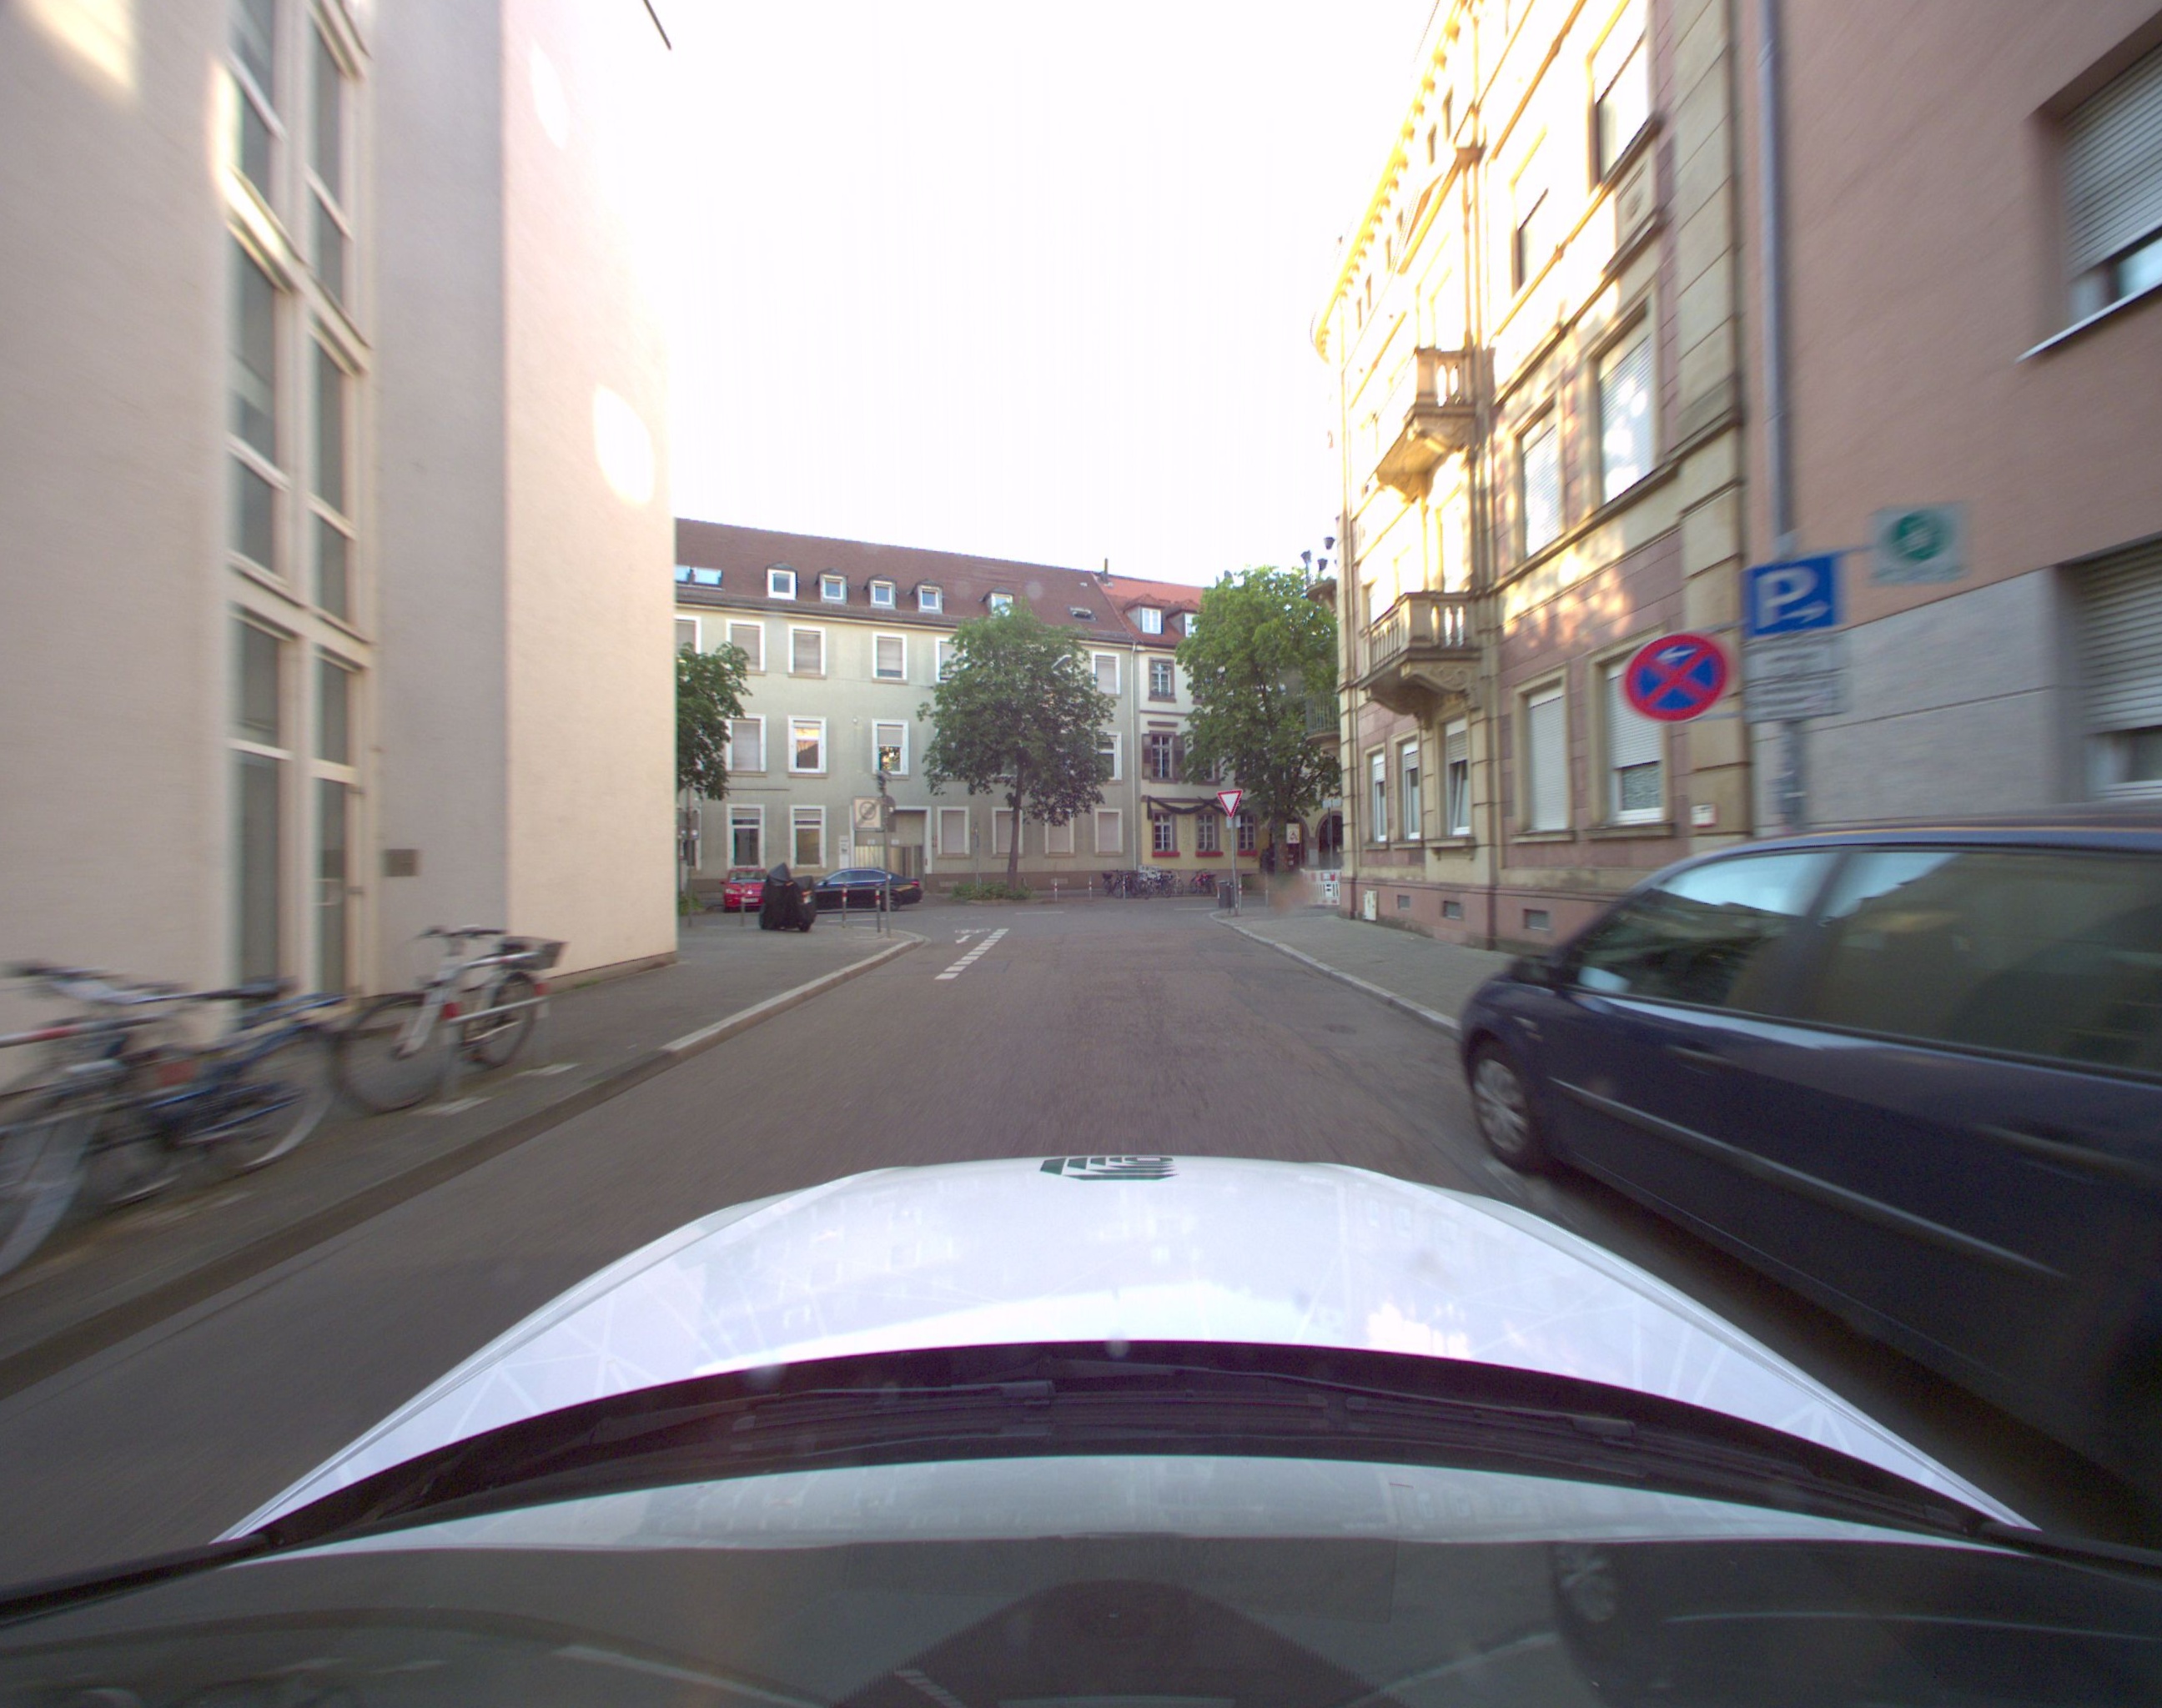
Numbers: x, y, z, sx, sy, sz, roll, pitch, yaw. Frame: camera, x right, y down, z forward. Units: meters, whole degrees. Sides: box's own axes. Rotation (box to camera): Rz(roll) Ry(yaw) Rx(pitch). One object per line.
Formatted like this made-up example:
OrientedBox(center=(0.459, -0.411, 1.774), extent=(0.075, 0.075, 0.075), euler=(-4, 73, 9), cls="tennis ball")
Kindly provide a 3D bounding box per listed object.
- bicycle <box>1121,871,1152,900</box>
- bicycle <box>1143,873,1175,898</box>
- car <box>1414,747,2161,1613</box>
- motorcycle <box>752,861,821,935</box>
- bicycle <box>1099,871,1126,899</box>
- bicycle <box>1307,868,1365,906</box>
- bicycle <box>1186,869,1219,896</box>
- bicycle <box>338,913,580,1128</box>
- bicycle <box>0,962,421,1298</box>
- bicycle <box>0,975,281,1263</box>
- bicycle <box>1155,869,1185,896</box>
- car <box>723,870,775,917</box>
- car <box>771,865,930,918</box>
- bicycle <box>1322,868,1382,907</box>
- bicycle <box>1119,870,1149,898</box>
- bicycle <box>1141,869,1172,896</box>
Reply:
OrientedBox(center=(2.286, 1.276, 33.694), extent=(0.446, 1.145, 2.028), euler=(-1, -1, -20), cls="bicycle")
OrientedBox(center=(3.285, 1.313, 34.464), extent=(0.422, 1.004, 2.027), euler=(-1, -1, -22), cls="bicycle")
OrientedBox(center=(2.831, 0.611, 2.711), extent=(1.685, 1.625, 4.051), euler=(-1, -1, -2), cls="car")
OrientedBox(center=(-6.639, 0.972, 18.287), extent=(0.673, 1.555, 2.136), euler=(-1, -1, -42), cls="motorcycle")
OrientedBox(center=(1.337, 1.292, 34.858), extent=(0.446, 1.145, 2.030), euler=(-1, -1, -18), cls="bicycle")
OrientedBox(center=(8.008, 1.032, 25.520), extent=(1.871, 1.089, 0.362), euler=(-2, -2, -22), cls="bicycle")
OrientedBox(center=(5.278, 1.245, 35.583), extent=(0.422, 1.145, 2.027), euler=(-1, -1, -22), cls="bicycle")
OrientedBox(center=(-4.121, 1.017, 5.576), extent=(0.399, 1.102, 1.810), euler=(-1, -1, -5), cls="bicycle")
OrientedBox(center=(-3.841, 1.073, 3.711), extent=(0.306, 0.932, 1.810), euler=(-1, -1, -4), cls="bicycle")
OrientedBox(center=(-4.199, 1.069, 3.184), extent=(0.306, 0.932, 1.814), euler=(-1, -1, 2), cls="bicycle")
OrientedBox(center=(3.938, 1.263, 36.117), extent=(0.422, 1.145, 2.027), euler=(-1, -1, -22), cls="bicycle")
OrientedBox(center=(-11.689, 1.326, 28.666), extent=(1.567, 1.475, 3.639), euler=(-1, 0, -23), cls="car")
OrientedBox(center=(-7.354, 1.154, 26.046), extent=(4.675, 1.450, 1.753), euler=(-1, -1, -25), cls="car")
OrientedBox(center=(8.298, 1.023, 24.910), extent=(1.871, 1.089, 0.362), euler=(-2, -2, -22), cls="bicycle")
OrientedBox(center=(2.287, 1.285, 35.239), extent=(0.422, 1.145, 2.027), euler=(-1, -1, -22), cls="bicycle")
OrientedBox(center=(3.304, 1.244, 35.798), extent=(0.422, 1.145, 2.027), euler=(-1, -1, -22), cls="bicycle")
